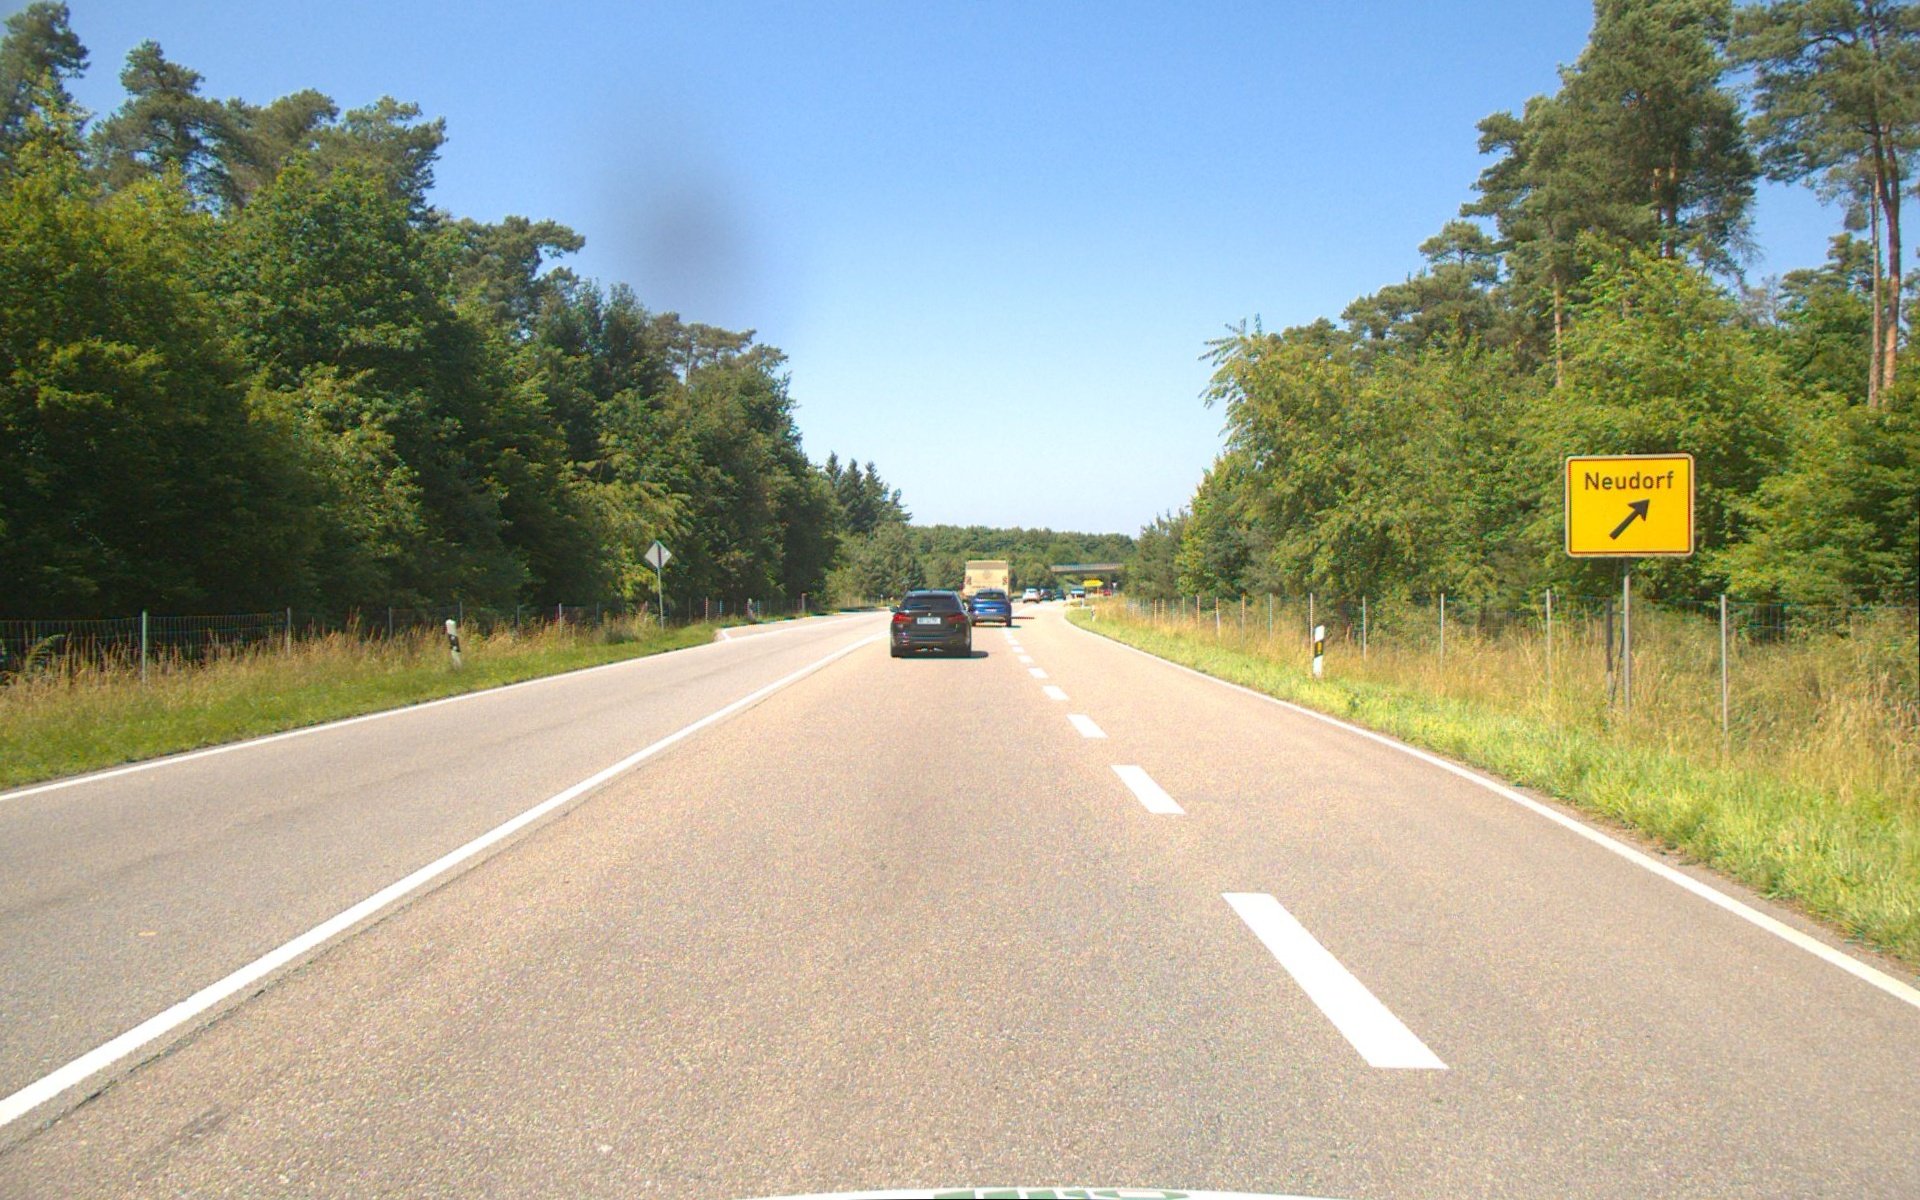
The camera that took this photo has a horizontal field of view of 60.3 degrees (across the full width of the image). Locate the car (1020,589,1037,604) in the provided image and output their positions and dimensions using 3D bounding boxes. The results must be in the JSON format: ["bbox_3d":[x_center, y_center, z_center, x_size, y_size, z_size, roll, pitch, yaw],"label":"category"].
[{"bbox_3d":[8.097,-0.411,196.157,1.825,1.633,4.000,-2,1,0],"label":"car"}]

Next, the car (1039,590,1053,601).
[{"bbox_3d":[11.725,-0.587,225.526,1.952,1.445,4.001,1,1,2],"label":"car"}]

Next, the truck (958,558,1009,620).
[{"bbox_3d":[1.416,-0.662,96.744,2.904,3.446,6.440,0,1,2],"label":"truck"}]

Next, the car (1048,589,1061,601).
[{"bbox_3d":[14.400,-0.752,252.494,1.952,1.665,4.002,-1,0,4],"label":"car"}]

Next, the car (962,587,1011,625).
[{"bbox_3d":[1.151,0.232,72.595,1.908,1.568,3.998,-1,0,-2],"label":"car"}]

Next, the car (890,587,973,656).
[{"bbox_3d":[-0.717,0.461,38.372,1.784,1.496,3.998,0,0,-3],"label":"car"}]
